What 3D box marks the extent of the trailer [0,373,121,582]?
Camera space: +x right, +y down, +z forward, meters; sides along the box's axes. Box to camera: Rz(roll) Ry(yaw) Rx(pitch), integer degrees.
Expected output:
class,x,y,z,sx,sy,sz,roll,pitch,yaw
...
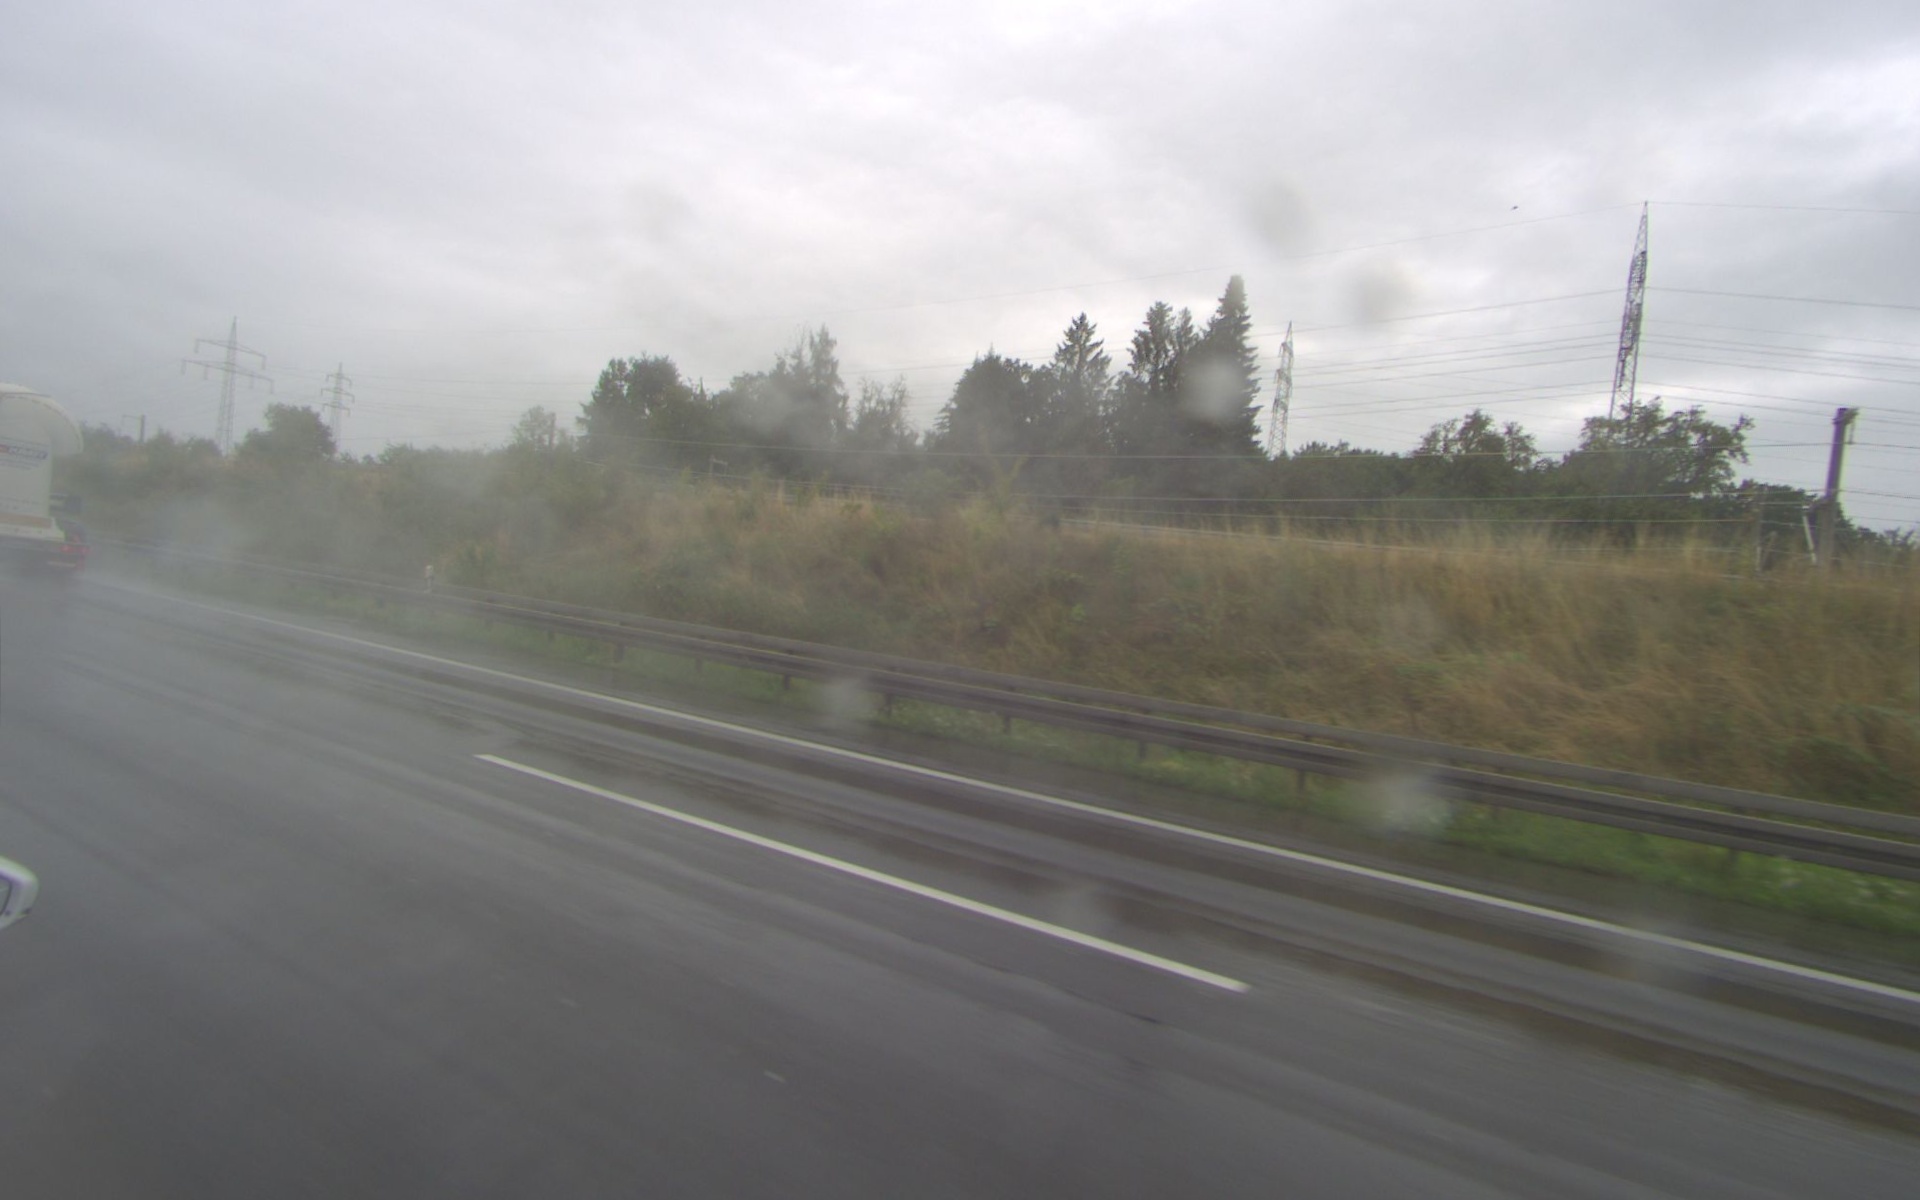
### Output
class,x,y,z,sx,sy,sz,roll,pitch,yaw
trailer,-23.467,-3.023,23.252,10.881,3.928,2.502,7,-1,31
